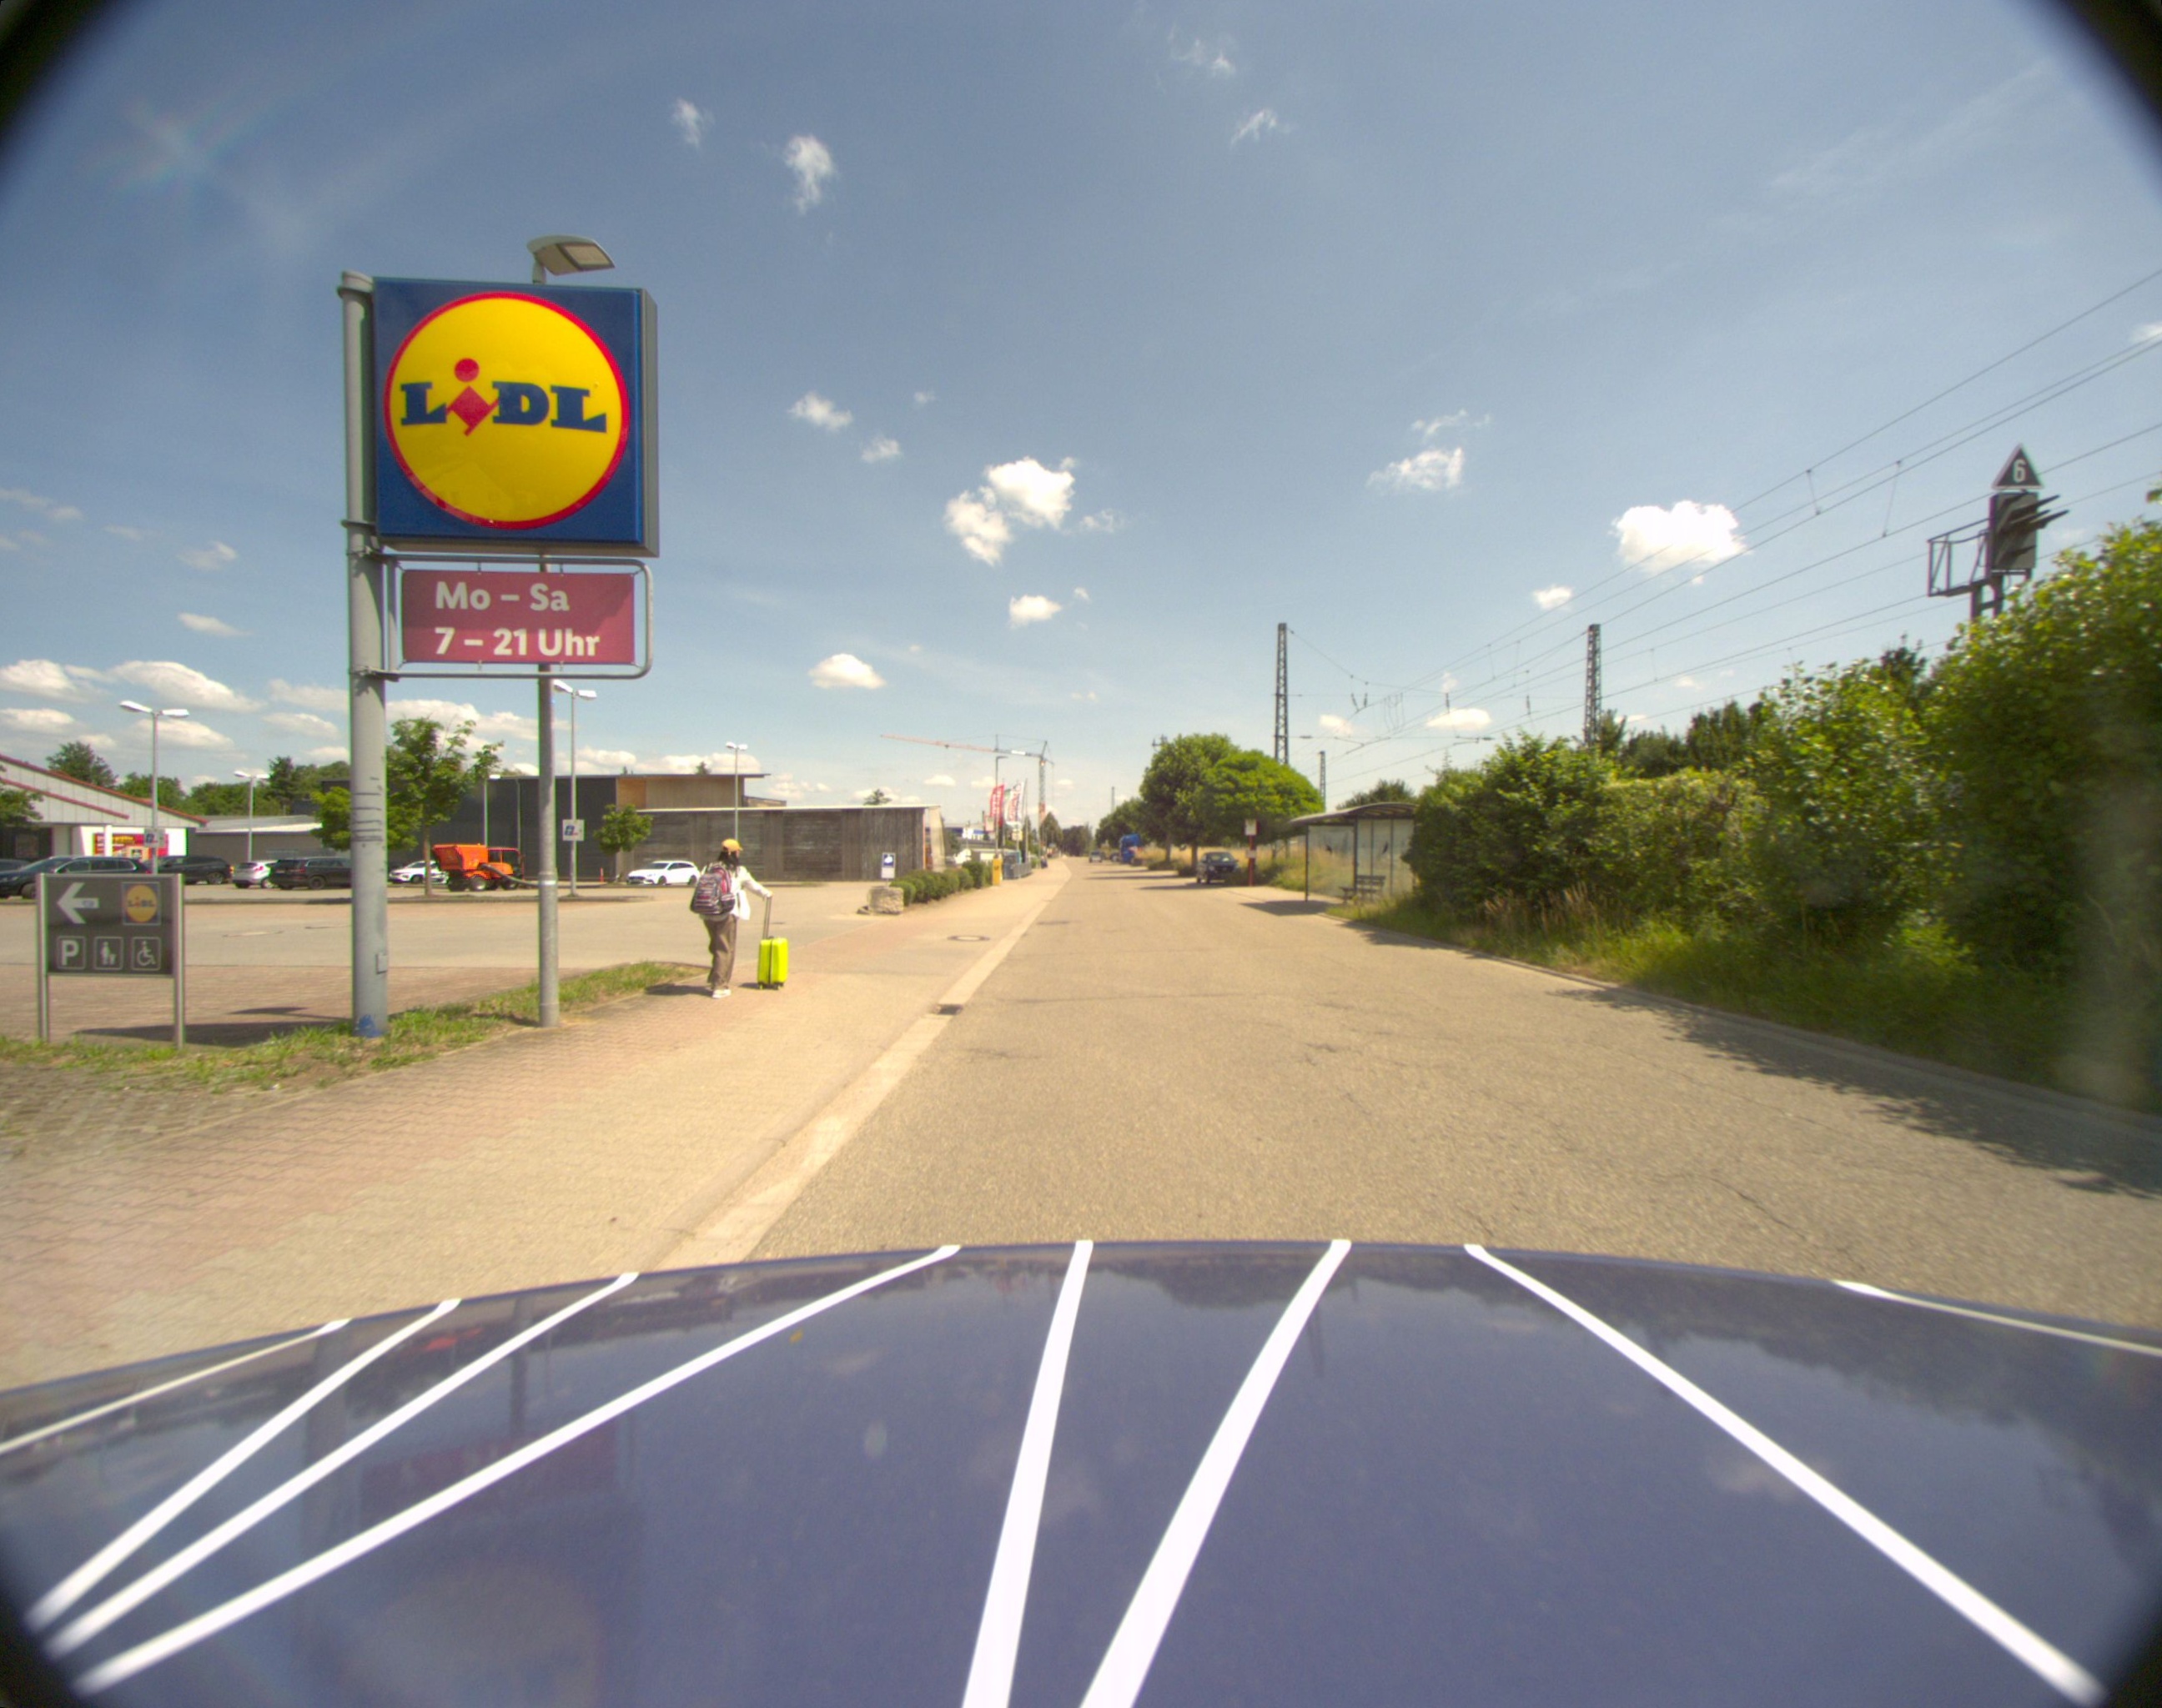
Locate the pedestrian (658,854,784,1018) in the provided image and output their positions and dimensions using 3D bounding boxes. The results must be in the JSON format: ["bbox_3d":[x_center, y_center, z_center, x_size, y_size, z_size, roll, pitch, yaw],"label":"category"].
[{"bbox_3d":[-3.747,0.803,8.019,0.763,1.592,1.210,0,0,-2],"label":"pedestrian"}]

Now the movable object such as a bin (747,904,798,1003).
[{"bbox_3d":[-3.396,1.082,8.393,0.375,1.024,0.498,0,2,-3],"label":"movable object such as a bin"}]

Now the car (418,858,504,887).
[{"bbox_3d":[-36.239,1.043,44.529,1.583,1.565,4.001,-1,0,4],"label":"car"}]

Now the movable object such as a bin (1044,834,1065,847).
[{"bbox_3d":[-7.139,-3.550,203.231,5.133,3.277,2.390,0,6,-18],"label":"movable object such as a bin"}]

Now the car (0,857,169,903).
[{"bbox_3d":[-38.057,0.930,28.915,1.583,1.621,4.003,0,0,10],"label":"car"}]

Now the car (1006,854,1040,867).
[{"bbox_3d":[-7.288,0.817,95.636,4.224,1.625,1.799,0,3,-3],"label":"car"}]

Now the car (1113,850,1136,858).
[{"bbox_3d":[7.337,-0.015,128.233,3.954,1.442,1.787,0,1,3],"label":"car"}]

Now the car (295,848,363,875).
[{"bbox_3d":[-44.106,0.418,44.616,1.224,1.558,2.673,1,0,5],"label":"car"}]

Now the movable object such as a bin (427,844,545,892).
[{"bbox_3d":[-29.301,0.647,37.610,1.682,2.191,4.526,1,0,13],"label":"movable object such as a bin"}]

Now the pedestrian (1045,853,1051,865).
[{"bbox_3d":[-3.748,0.568,86.491,0.596,1.397,0.583,0,3,-5],"label":"pedestrian"}]

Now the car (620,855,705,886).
[{"bbox_3d":[-23.603,0.909,43.077,1.997,1.652,4.441,0,-1,7],"label":"car"}]

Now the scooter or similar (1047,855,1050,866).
[{"bbox_3d":[-3.552,0.742,83.119,0.334,1.191,0.397,0,3,-1],"label":"scooter or similar"}]

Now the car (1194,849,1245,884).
[{"bbox_3d":[6.753,0.581,37.331,1.746,1.586,3.578,-1,0,-2],"label":"car"}]

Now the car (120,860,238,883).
[{"bbox_3d":[-48.896,0.935,41.312,1.611,1.166,3.793,1,0,15],"label":"car"}]

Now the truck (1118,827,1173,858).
[{"bbox_3d":[8.200,-1.449,96.542,6.633,3.801,2.663,0,0,-4],"label":"truck"}]

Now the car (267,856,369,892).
[{"bbox_3d":[-38.908,0.959,38.837,1.508,1.603,3.342,1,3,13],"label":"car"}]

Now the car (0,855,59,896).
[{"bbox_3d":[-42.972,0.842,29.320,1.583,1.583,4.001,-1,0,3],"label":"car"}]

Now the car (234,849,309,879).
[{"bbox_3d":[-47.570,0.561,44.703,1.296,1.678,2.708,1,1,11],"label":"car"}]

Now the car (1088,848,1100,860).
[{"bbox_3d":[2.144,-0.016,123.393,1.843,1.847,4.483,-1,1,-1],"label":"car"}]

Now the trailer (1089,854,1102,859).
[{"bbox_3d":[2.224,0.388,119.003,1.823,0.845,4.222,1,0,-1],"label":"trailer"}]

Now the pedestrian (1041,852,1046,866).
[{"bbox_3d":[-4.065,0.529,83.193,0.536,1.532,0.510,0,6,-2],"label":"pedestrian"}]
